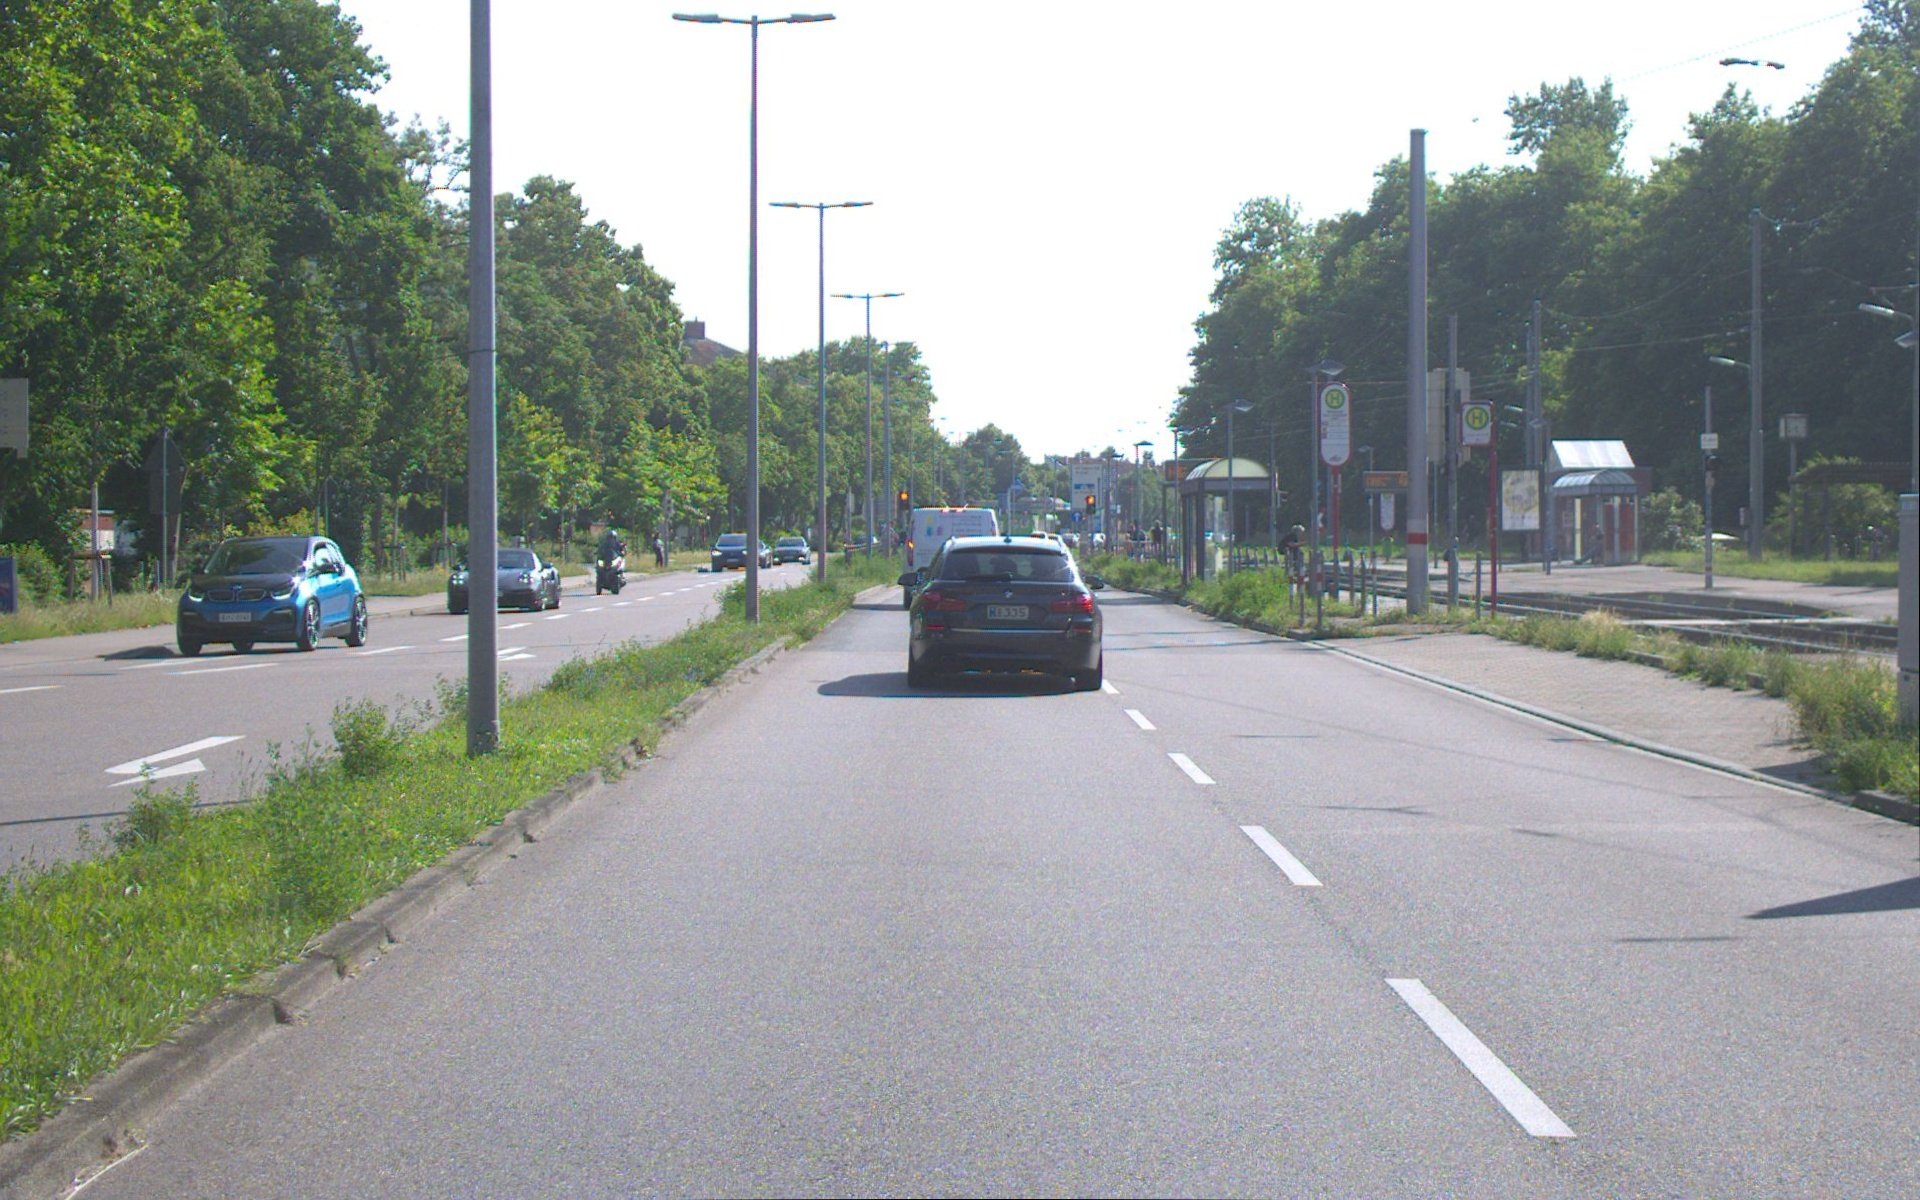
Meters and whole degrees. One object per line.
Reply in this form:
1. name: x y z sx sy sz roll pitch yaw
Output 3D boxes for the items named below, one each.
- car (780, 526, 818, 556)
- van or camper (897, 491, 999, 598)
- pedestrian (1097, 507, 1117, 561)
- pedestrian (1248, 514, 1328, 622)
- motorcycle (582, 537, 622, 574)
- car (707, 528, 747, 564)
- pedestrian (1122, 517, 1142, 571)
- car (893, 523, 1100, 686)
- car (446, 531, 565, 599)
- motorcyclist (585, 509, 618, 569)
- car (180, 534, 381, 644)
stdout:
1. car: -8.386 -3.085 179.198 1.849 1.546 4.000 0 1 -1
2. van or camper: -0.240 -1.140 69.506 1.993 2.089 4.599 0 1 0
3. pedestrian: 5.479 -2.481 128.398 0.698 2.007 0.702 0 1 -1
4. pedestrian: 5.037 -0.500 52.763 1.000 1.629 0.720 1 2 34
5. motorcycle: -9.297 -1.152 89.311 0.777 0.945 2.401 0 1 0
6. car: -10.094 -2.351 149.113 1.533 1.481 4.000 0 1 -1
7. pedestrian: 6.428 -2.074 128.231 0.698 2.007 0.702 0 1 -1
8. car: 0.398 0.001 33.880 1.903 1.500 4.065 0 1 2
9. car: -9.156 -0.728 69.560 1.788 1.323 4.737 0 1 0
10. motorcyclist: -9.293 -1.585 89.168 0.763 1.546 0.799 0 1 -1
11. car: -9.222 -0.186 46.981 1.788 1.410 4.386 0 1 1
